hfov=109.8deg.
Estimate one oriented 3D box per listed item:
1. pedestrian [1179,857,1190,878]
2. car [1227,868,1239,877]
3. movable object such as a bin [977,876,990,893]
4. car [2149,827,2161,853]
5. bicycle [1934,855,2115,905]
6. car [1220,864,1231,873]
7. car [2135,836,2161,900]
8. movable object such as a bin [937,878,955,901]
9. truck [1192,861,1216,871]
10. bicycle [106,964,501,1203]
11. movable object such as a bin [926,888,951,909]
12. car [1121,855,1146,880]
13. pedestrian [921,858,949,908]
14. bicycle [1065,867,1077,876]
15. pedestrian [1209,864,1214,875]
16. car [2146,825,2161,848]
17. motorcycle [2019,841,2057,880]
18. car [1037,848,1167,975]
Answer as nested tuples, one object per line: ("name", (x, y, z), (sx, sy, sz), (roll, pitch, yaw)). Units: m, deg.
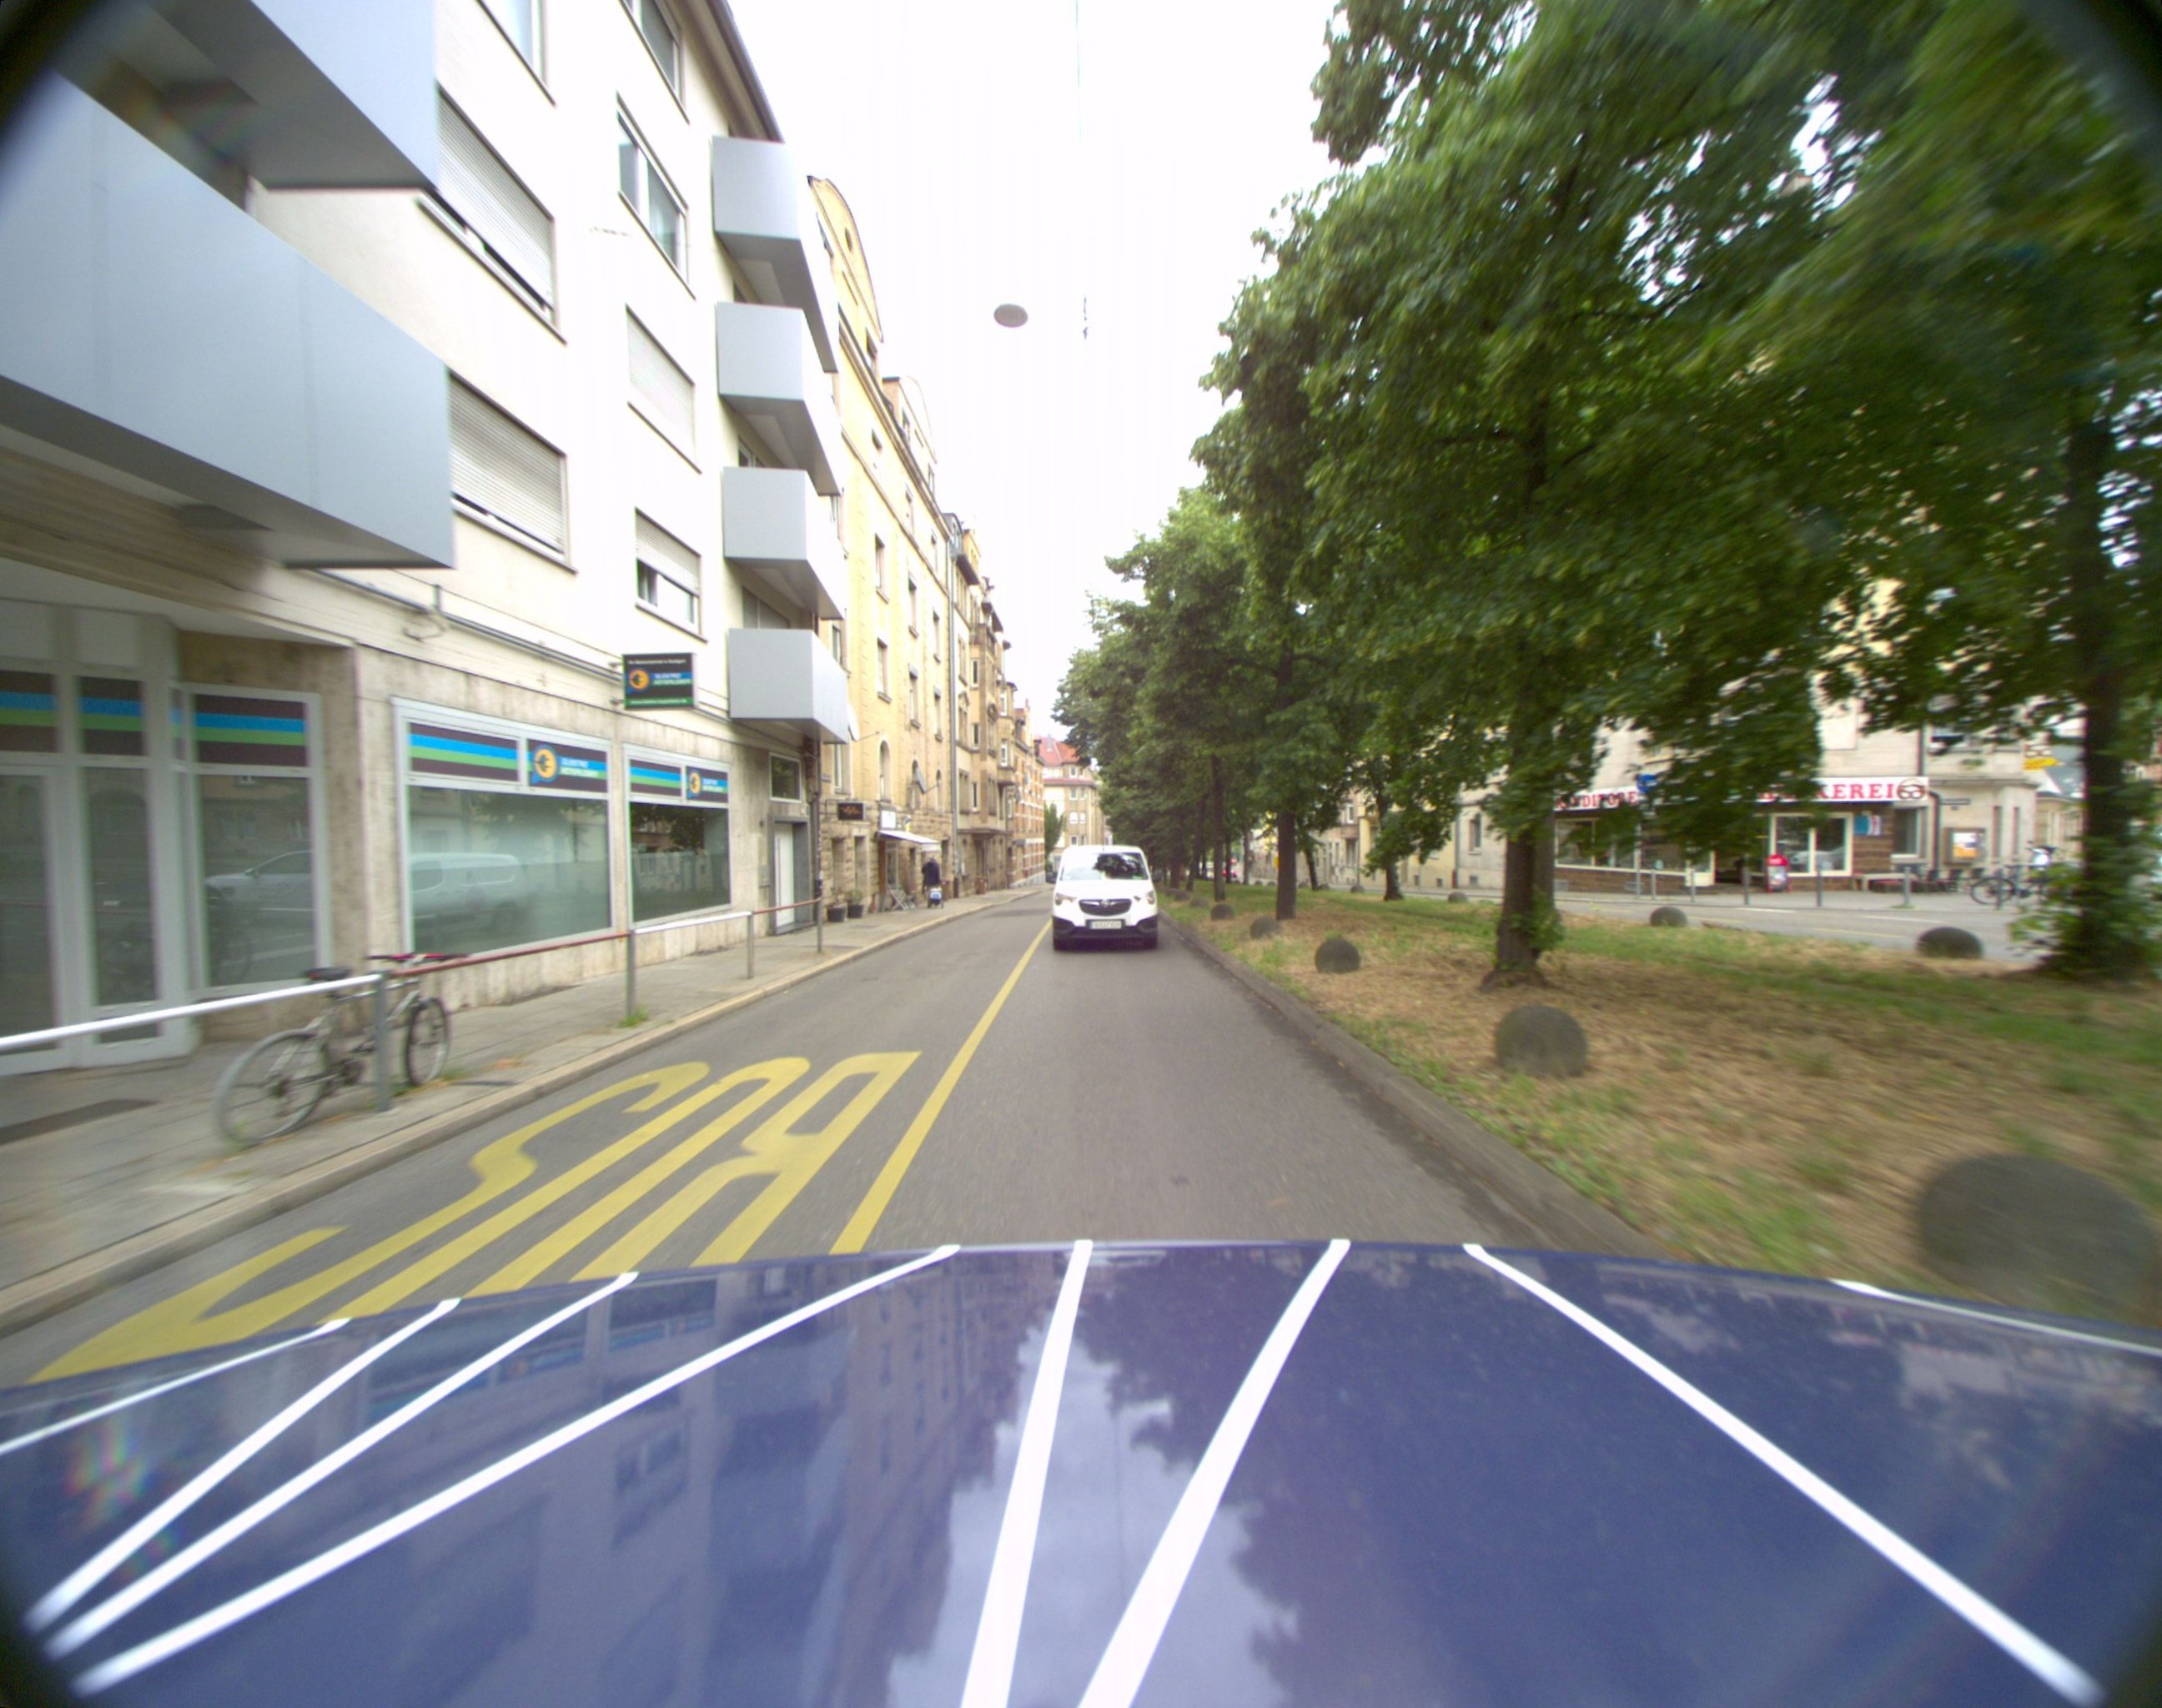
("pedestrian", (8.788, 1.174, 64.787), (0.835, 1.702, 1.123), (3, 2, 8))
("car", (25.971, 3.197, 129.756), (1.761, 1.374, 4.673), (1, -2, 9))
("movable object such as a bin", (-5.115, 1.598, 39.917), (0.595, 0.898, 0.563), (-1, 0, 3))
("car", (60.240, -0.812, 41.634), (3.812, 1.393, 1.772), (-2, 1, -39))
("bicycle", (21.641, 0.602, 17.518), (2.453, 1.040, 0.869), (-2, 1, 28))
("car", (28.906, 2.944, 152.497), (1.819, 1.627, 4.682), (1, 0, 7))
("car", (27.149, 0.331, 18.247), (3.773, 1.503, 1.817), (0, 1, -31))
("movable object such as a bin", (-5.560, 1.470, 31.391), (0.595, 0.899, 0.502), (-1, 3, 3))
("truck", (35.309, 3.420, 218.677), (6.465, 2.706, 2.767), (1, -1, -26))
("bicycle", (-4.610, 1.292, 4.731), (0.570, 0.926, 1.774), (-1, 1, 1))
("movable object such as a bin", (-4.758, 1.486, 25.415), (0.609, 0.664, 0.859), (1, -1, 2))
("car", (4.417, 1.069, 63.937), (1.962, 1.937, 3.957), (-1, 1, 5))
("pedestrian", (-5.049, 0.981, 26.296), (0.753, 1.682, 0.859), (1, 0, 2))
("bicycle", (-1.353, 2.362, 103.435), (0.642, 1.134, 2.069), (-4, 5, -36))
("pedestrian", (17.595, 2.077, 102.481), (0.700, 1.451, 0.705), (-1, -1, 9))
("car", (70.032, -1.167, 48.746), (3.812, 1.393, 1.772), (-2, 1, -39))
("motorcycle", (30.836, 0.197, 24.470), (2.531, 1.149, 0.528), (-2, 1, -33))
("car", (0.505, 0.823, 13.420), (1.857, 1.799, 4.730), (-1, 1, 5))
